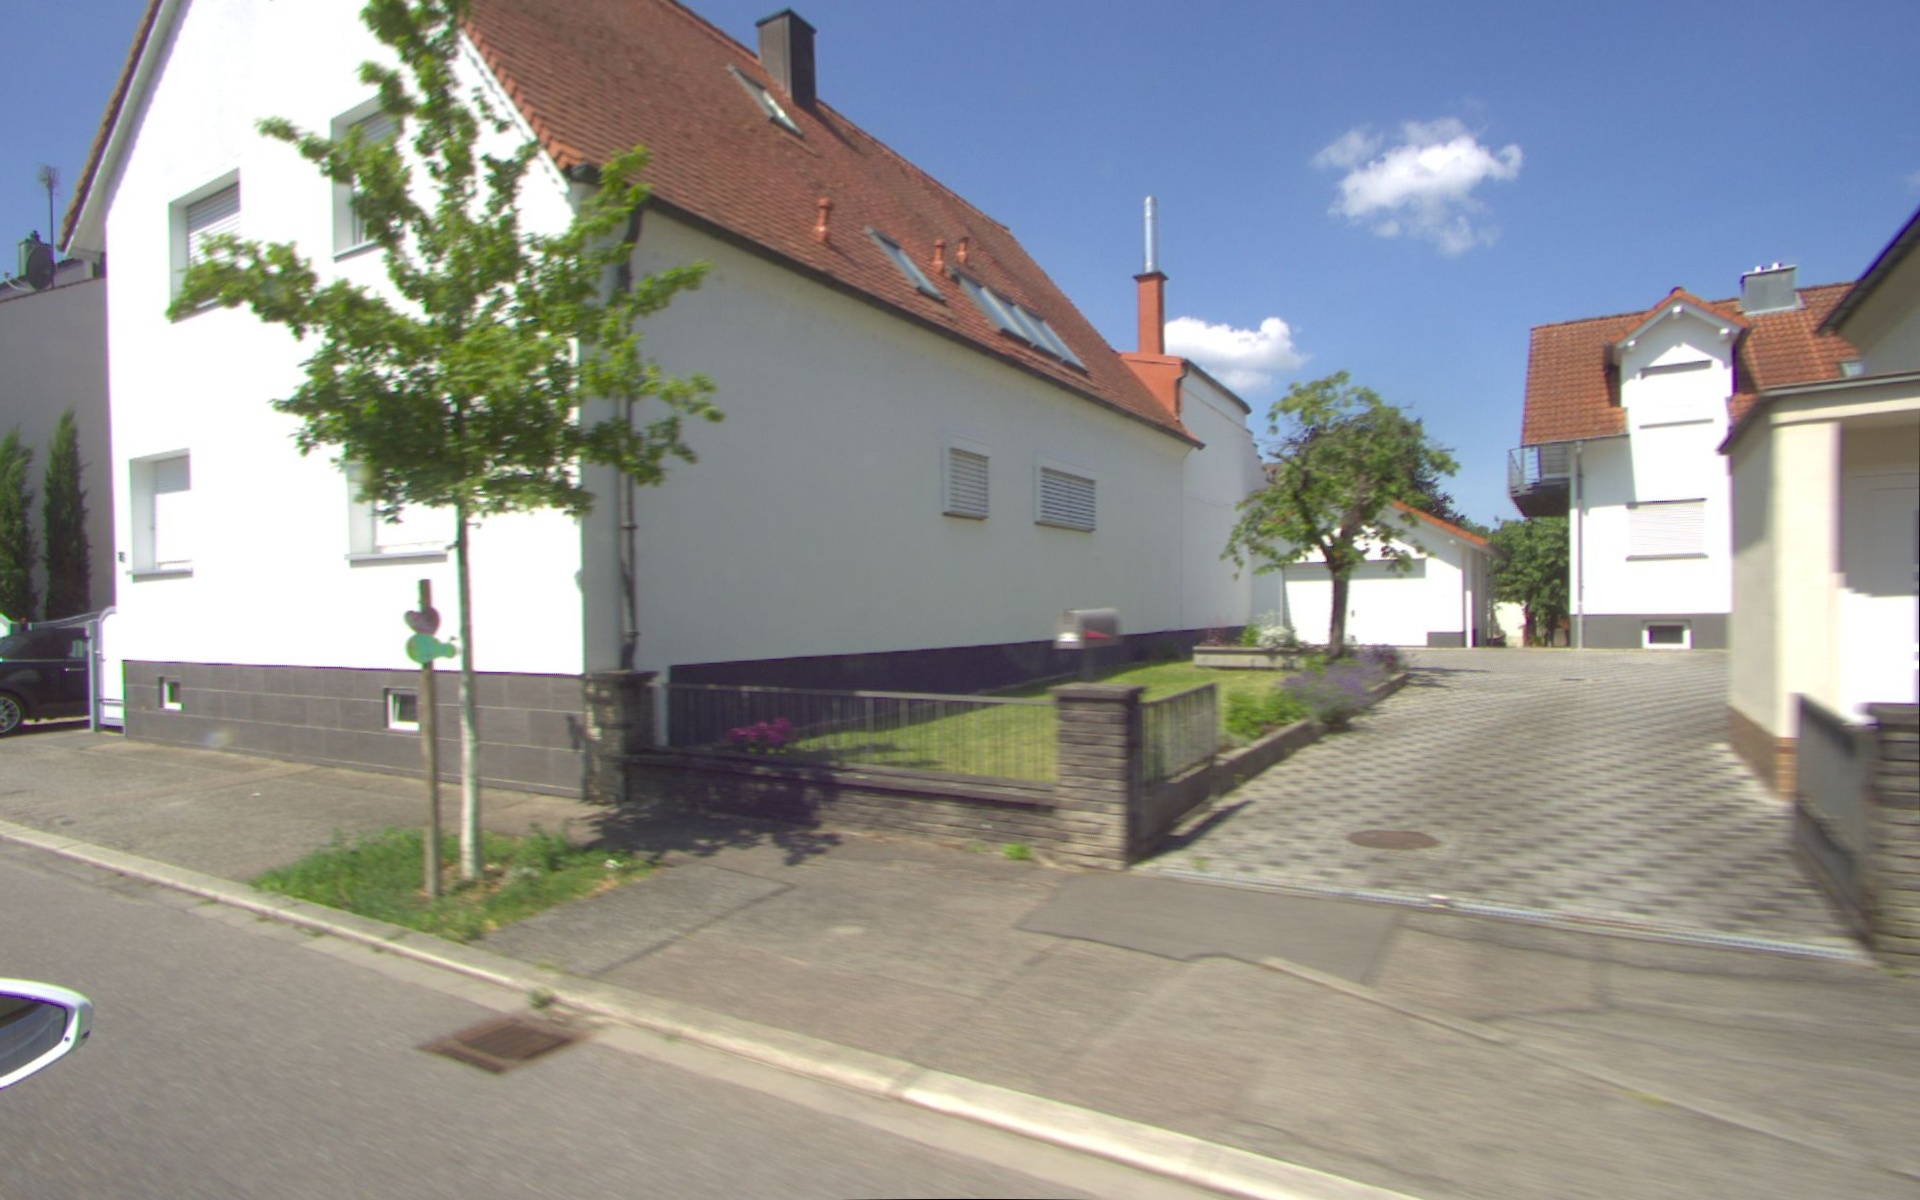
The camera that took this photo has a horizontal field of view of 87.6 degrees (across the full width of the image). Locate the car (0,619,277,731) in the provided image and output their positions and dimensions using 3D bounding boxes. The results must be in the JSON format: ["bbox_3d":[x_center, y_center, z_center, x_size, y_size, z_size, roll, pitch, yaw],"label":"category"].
[{"bbox_3d":[-12.664,1.023,14.781,1.715,1.433,3.915,-1,-1,32],"label":"car"}]
